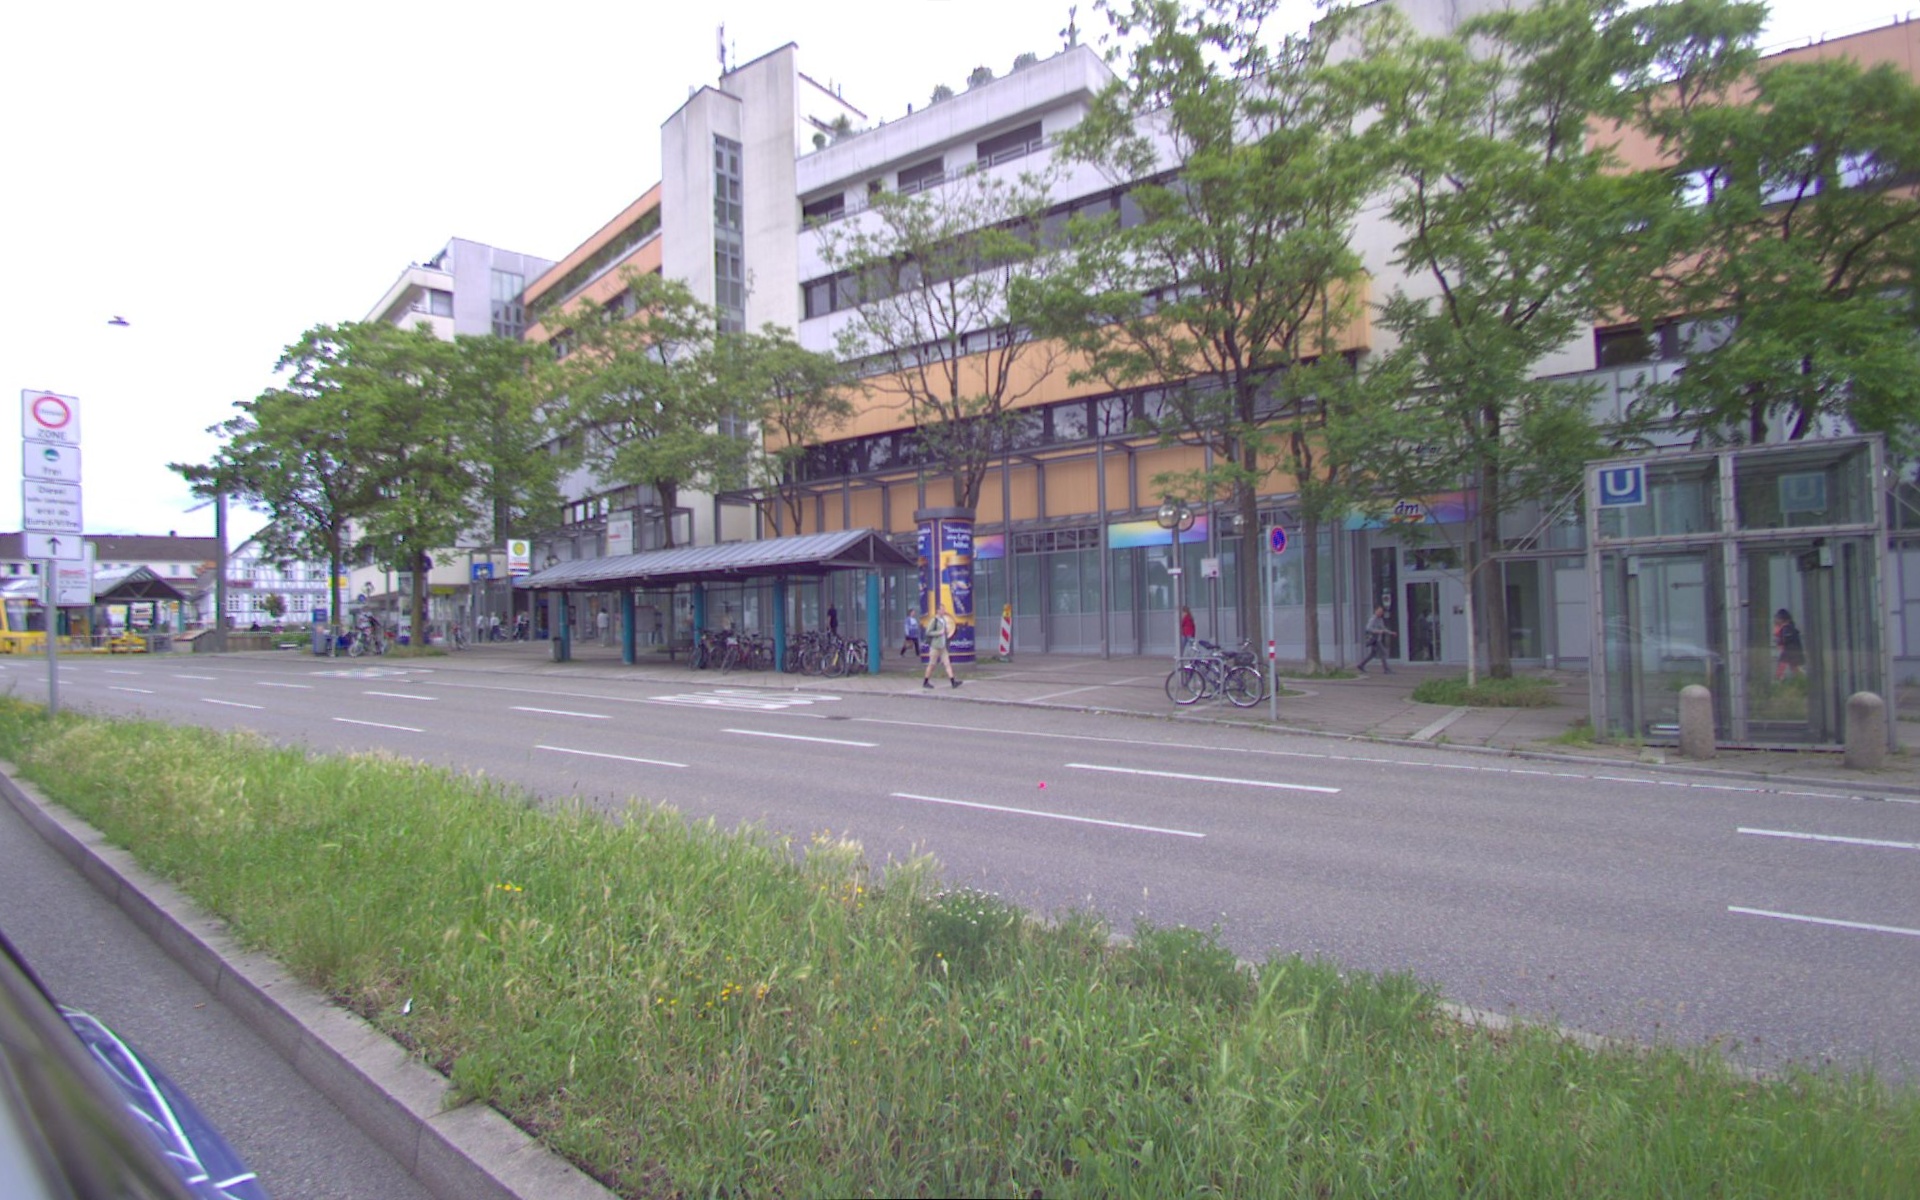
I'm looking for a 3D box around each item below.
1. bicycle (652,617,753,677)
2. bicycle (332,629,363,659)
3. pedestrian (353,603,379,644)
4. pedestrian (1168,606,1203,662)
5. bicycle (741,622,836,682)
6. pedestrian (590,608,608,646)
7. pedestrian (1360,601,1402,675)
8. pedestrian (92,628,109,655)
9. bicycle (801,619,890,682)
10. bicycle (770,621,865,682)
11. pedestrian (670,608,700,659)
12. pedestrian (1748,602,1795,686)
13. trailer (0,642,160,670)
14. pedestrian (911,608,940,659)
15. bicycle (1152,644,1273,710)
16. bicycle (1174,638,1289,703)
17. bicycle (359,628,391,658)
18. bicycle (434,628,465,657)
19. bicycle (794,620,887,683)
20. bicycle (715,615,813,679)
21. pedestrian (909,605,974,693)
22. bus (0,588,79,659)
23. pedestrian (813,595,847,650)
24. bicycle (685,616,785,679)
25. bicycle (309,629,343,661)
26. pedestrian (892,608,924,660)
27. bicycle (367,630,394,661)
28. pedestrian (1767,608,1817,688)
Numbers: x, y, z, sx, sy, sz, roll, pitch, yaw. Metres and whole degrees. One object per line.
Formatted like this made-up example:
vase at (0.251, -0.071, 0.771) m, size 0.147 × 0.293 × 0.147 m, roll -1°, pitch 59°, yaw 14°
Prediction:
bicycle at (-7.265, 1.296, 28.763) m, size 0.969 × 1.518 × 2.877 m, roll -2°, pitch 0°, yaw 32°
bicycle at (-24.154, 1.735, 39.932) m, size 0.594 × 1.170 × 1.971 m, roll 0°, pitch -2°, yaw -18°
pedestrian at (-27.765, 1.118, 47.330) m, size 0.871 × 1.891 × 0.738 m, roll -2°, pitch -2°, yaw 32°
pedestrian at (6.502, 0.976, 29.179) m, size 0.822 × 1.598 × 0.629 m, roll -1°, pitch -2°, yaw 31°
bicycle at (-4.522, 1.355, 26.966) m, size 0.803 × 1.518 × 2.876 m, roll -2°, pitch -2°, yaw 32°
pedestrian at (-15.621, 1.146, 43.785) m, size 0.623 × 1.612 × 0.624 m, roll -2°, pitch 0°, yaw -30°
pedestrian at (10.084, 0.895, 24.233) m, size 0.787 × 1.729 × 0.764 m, roll -2°, pitch 0°, yaw 32°
pedestrian at (-51.737, 2.507, 60.924) m, size 0.618 × 1.585 × 0.594 m, roll -2°, pitch -2°, yaw 30°
bicycle at (-2.868, 1.253, 25.730) m, size 0.597 × 1.518 × 2.876 m, roll -2°, pitch -2°, yaw 32°
bicycle at (-3.662, 1.300, 26.331) m, size 0.776 × 1.518 × 2.876 m, roll -2°, pitch -2°, yaw 32°
pedestrian at (-9.676, 1.159, 35.590) m, size 0.763 × 1.729 × 0.789 m, roll -2°, pitch 0°, yaw -32°
pedestrian at (17.237, 0.929, 21.512) m, size 0.678 × 1.740 × 0.560 m, roll -2°, pitch -2°, yaw 32°
trailer at (-46.990, 2.976, 53.578) m, size 12.072 × 1.343 × 2.822 m, roll -2°, pitch -2°, yaw 29°
pedestrian at (-1.103, 1.061, 32.478) m, size 0.621 × 1.612 × 0.627 m, roll -2°, pitch 0°, yaw 35°
bicycle at (4.441, 1.334, 17.825) m, size 1.926 × 1.092 × 0.825 m, roll -2°, pitch -2°, yaw 27°
bicycle at (5.029, 1.296, 18.759) m, size 1.946 × 1.145 × 0.709 m, roll -1°, pitch -2°, yaw 26°
bicycle at (-23.714, 1.751, 41.000) m, size 1.966 × 1.170 × 0.596 m, roll -3°, pitch -3°, yaw 44°
bicycle at (-21.475, 1.788, 42.603) m, size 0.663 × 1.170 × 2.023 m, roll -1°, pitch -2°, yaw -11°
bicycle at (-3.002, 1.283, 25.804) m, size 0.698 × 1.518 × 2.876 m, roll -2°, pitch -2°, yaw 32°
bicycle at (-5.287, 1.231, 27.537) m, size 0.809 × 1.518 × 2.876 m, roll -2°, pitch 1°, yaw 33°
pedestrian at (-0.404, 1.042, 22.057) m, size 1.212 × 1.836 × 0.697 m, roll -1°, pitch 1°, yaw 37°
bus at (-60.522, 1.594, 61.730) m, size 19.255 × 3.889 × 3.851 m, roll -2°, pitch -2°, yaw 29°
pedestrian at (-4.886, 0.852, 38.098) m, size 0.932 × 2.029 × 0.888 m, roll -1°, pitch -2°, yaw 36°
bicycle at (-6.175, 1.274, 27.992) m, size 0.888 × 1.518 × 2.877 m, roll -2°, pitch 1°, yaw 32°
bicycle at (-25.026, 1.746, 39.976) m, size 0.594 × 1.170 × 1.971 m, roll -2°, pitch 0°, yaw -17°
pedestrian at (-1.627, 1.080, 31.896) m, size 0.705 × 1.595 × 0.660 m, roll -2°, pitch 0°, yaw 35°
bicycle at (-22.801, 1.780, 39.847) m, size 0.594 × 1.170 × 1.695 m, roll 0°, pitch -2°, yaw -19°
pedestrian at (17.145, 0.982, 20.864) m, size 0.678 × 1.601 × 0.513 m, roll -2°, pitch -2°, yaw 32°
